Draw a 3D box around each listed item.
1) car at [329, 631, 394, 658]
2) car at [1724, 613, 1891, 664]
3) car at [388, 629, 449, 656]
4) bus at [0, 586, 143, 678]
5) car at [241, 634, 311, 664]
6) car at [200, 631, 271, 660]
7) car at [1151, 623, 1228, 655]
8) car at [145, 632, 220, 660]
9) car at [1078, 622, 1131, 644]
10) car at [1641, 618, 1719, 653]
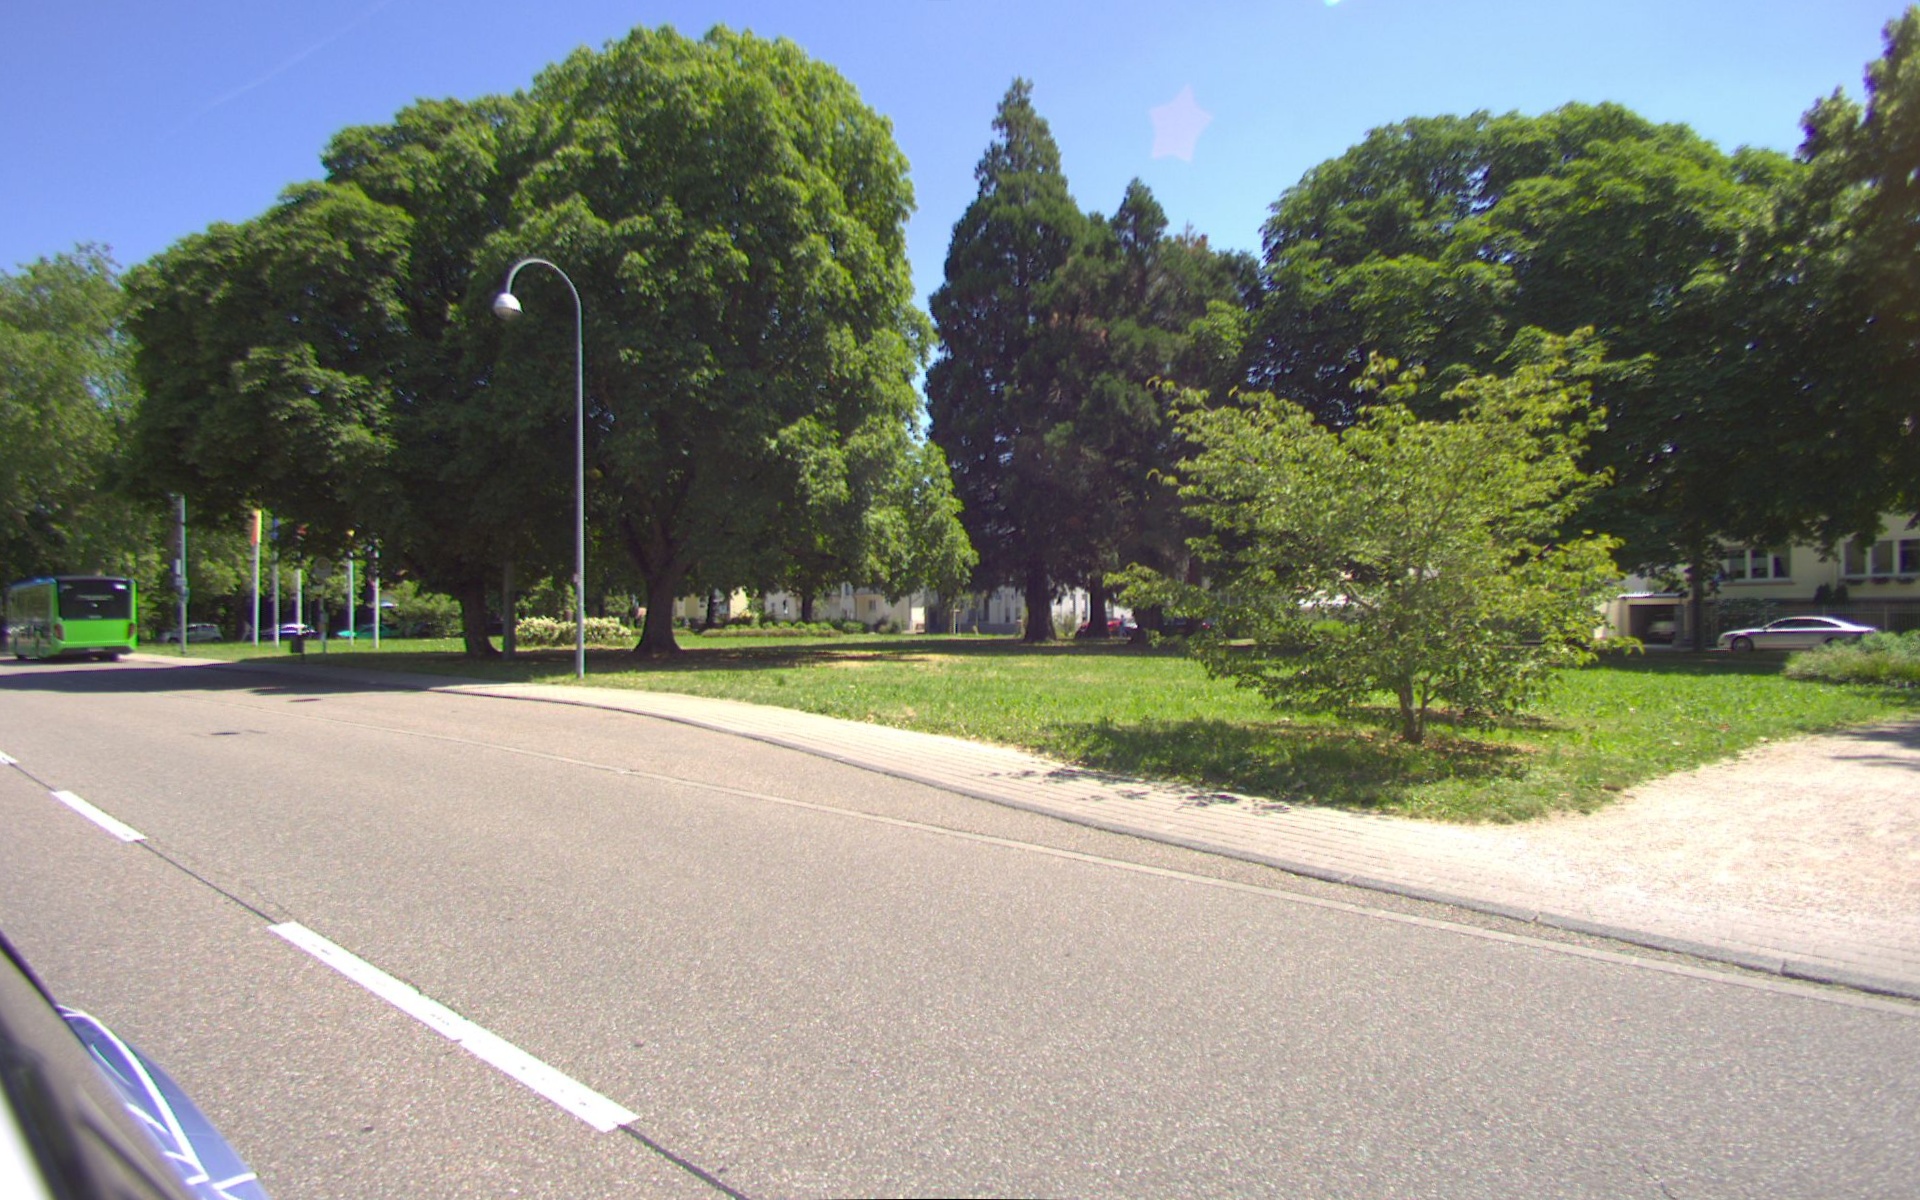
[{"bbox_3d":[-46.904,3.448,79.340,1.999,2.029,3.946,-2,-2,40],"label":"car"},{"bbox_3d":[31.992,1.436,38.324,1.967,1.792,4.516,0,-2,-37],"label":"car"},{"bbox_3d":[-44.213,3.449,82.705,1.999,2.029,3.946,-2,-2,40],"label":"car"},{"bbox_3d":[-36.855,1.313,41.726,11.849,3.328,2.778,-2,-2,40],"label":"bus"},{"bbox_3d":[-50.498,3.581,74.769,2.000,2.029,3.943,-2,-2,43],"label":"car"},{"bbox_3d":[-55.077,3.441,76.987,3.933,2.029,2.005,0,-1,-13],"label":"car"},{"bbox_3d":[13.201,2.235,58.357,1.967,1.792,4.008,0,-2,-37],"label":"car"},{"bbox_3d":[-54.484,3.211,70.944,2.000,1.817,3.943,-2,-2,43],"label":"car"},{"bbox_3d":[11.395,2.569,79.841,3.936,1.630,2.004,0,-2,-39],"label":"car"},{"bbox_3d":[34.934,1.684,49.066,3.935,1.597,2.004,0,-2,-38],"label":"car"}]
